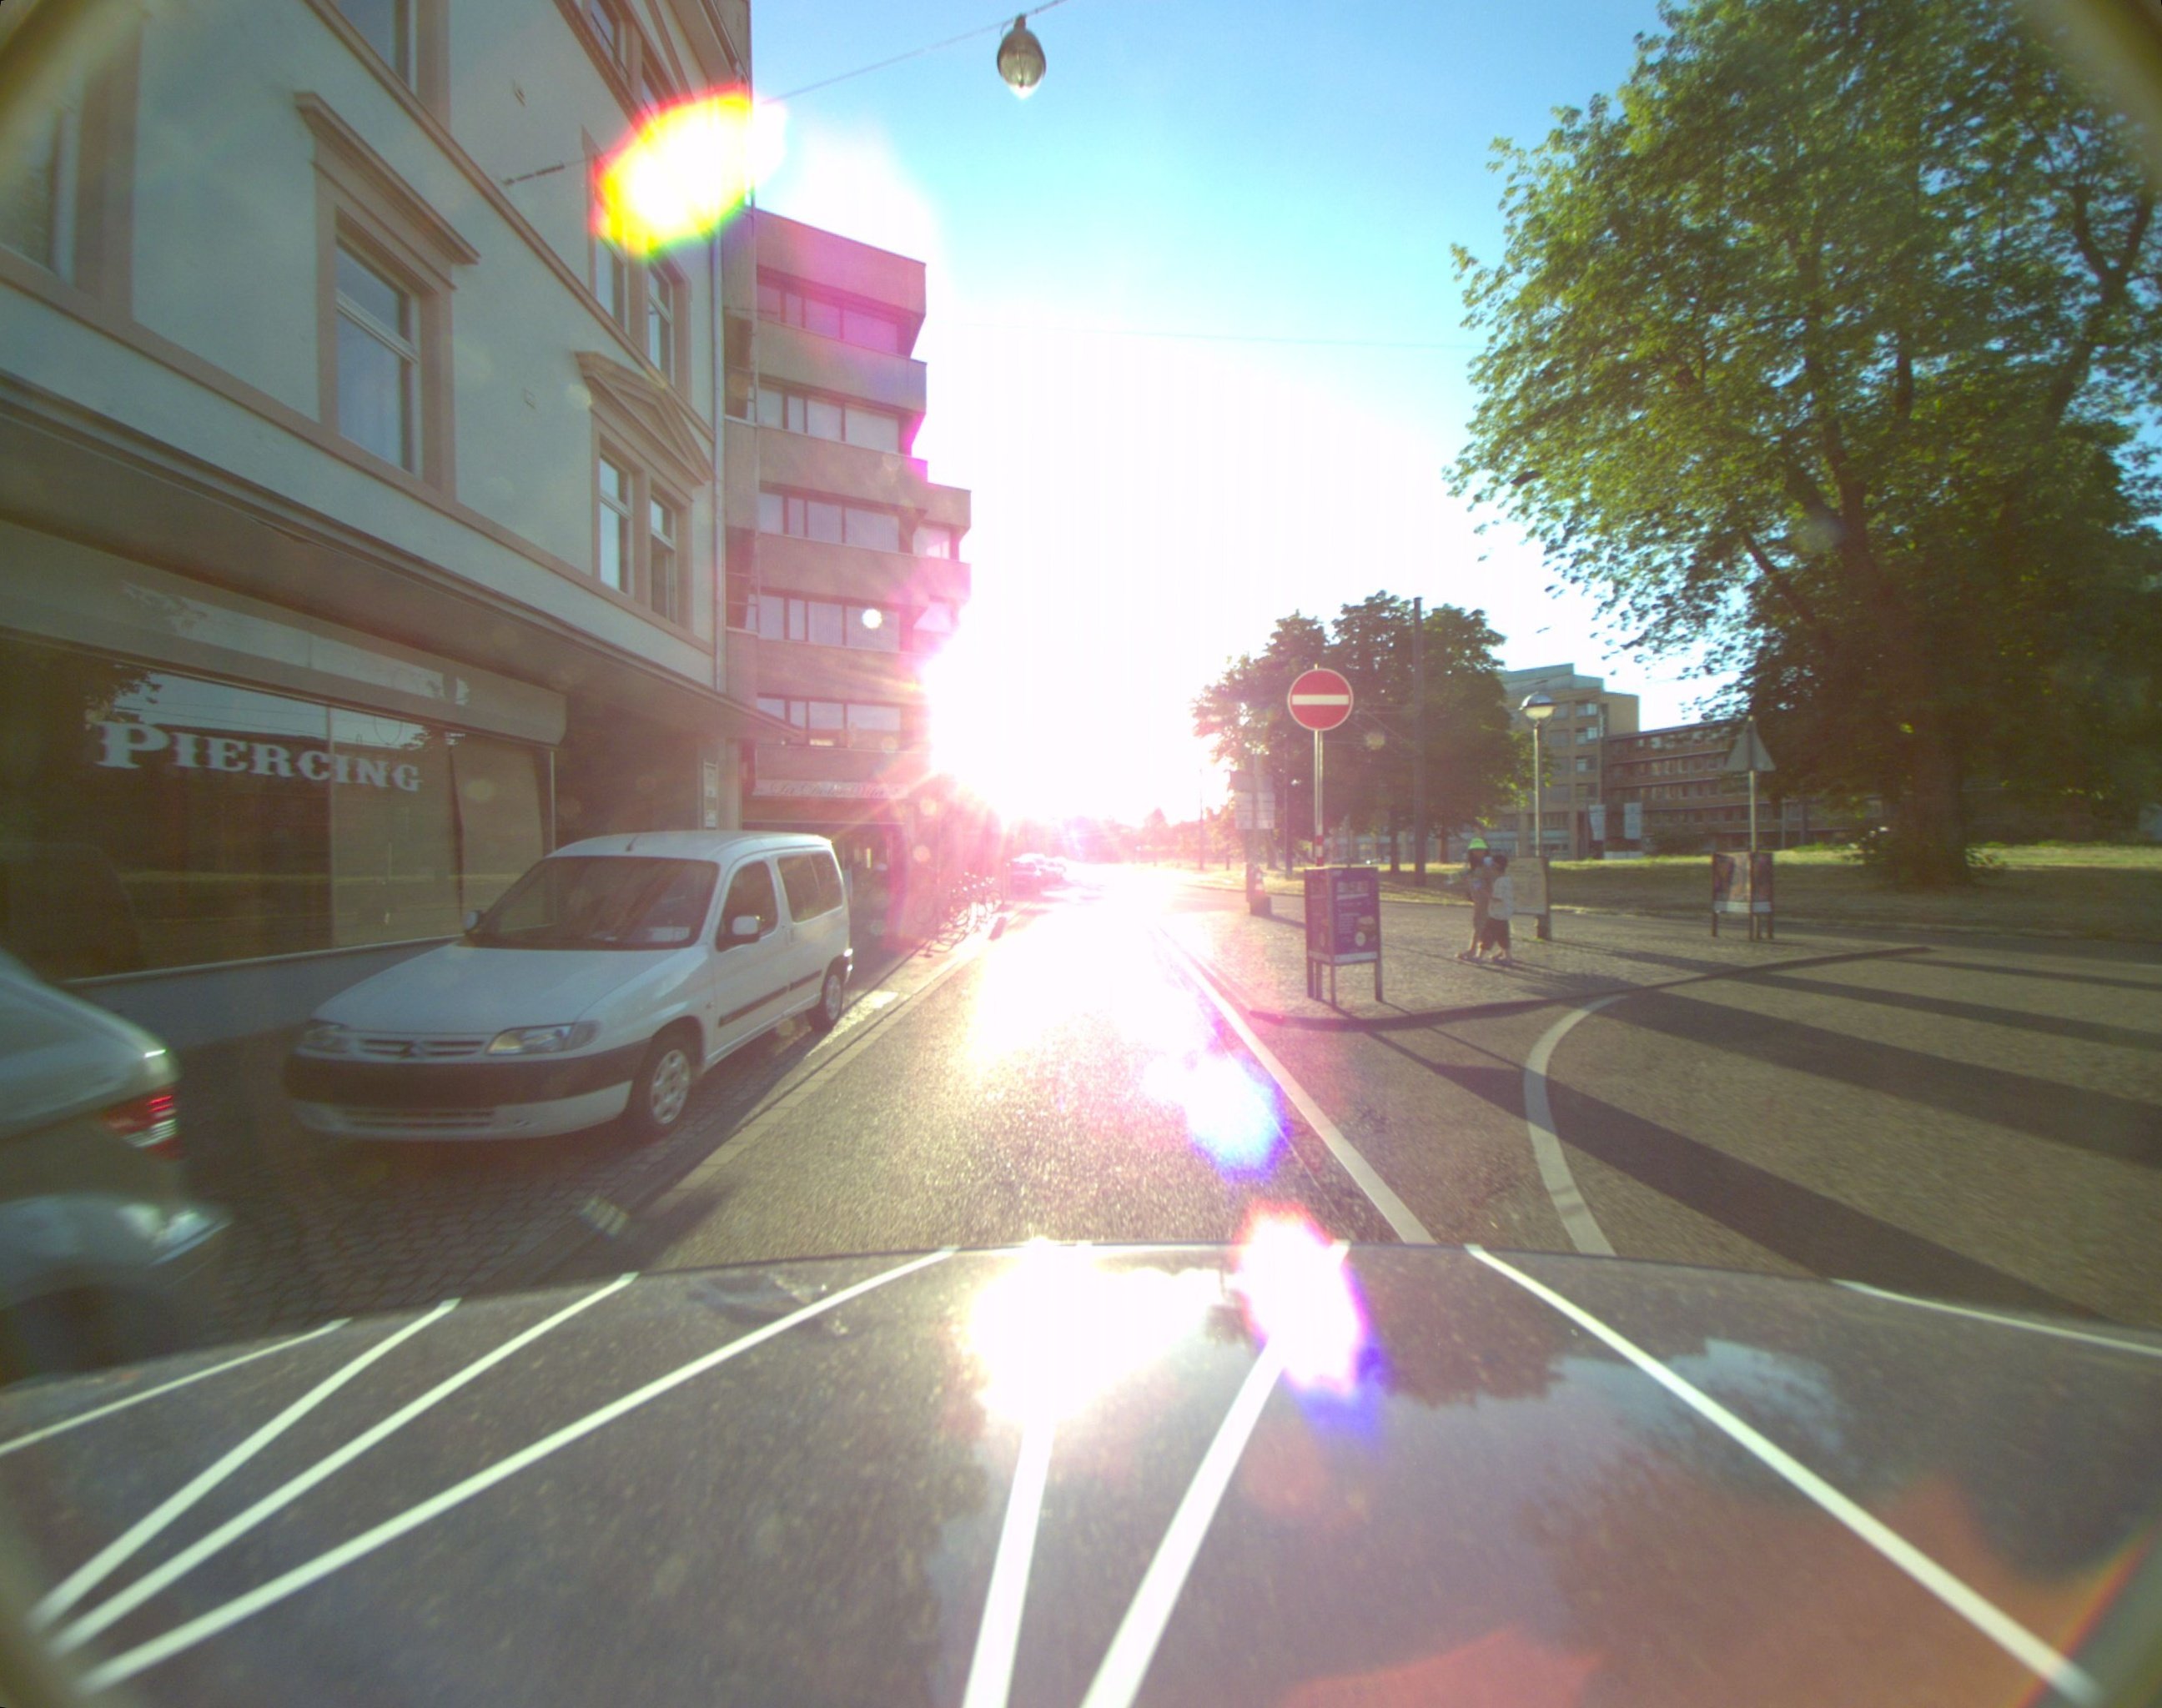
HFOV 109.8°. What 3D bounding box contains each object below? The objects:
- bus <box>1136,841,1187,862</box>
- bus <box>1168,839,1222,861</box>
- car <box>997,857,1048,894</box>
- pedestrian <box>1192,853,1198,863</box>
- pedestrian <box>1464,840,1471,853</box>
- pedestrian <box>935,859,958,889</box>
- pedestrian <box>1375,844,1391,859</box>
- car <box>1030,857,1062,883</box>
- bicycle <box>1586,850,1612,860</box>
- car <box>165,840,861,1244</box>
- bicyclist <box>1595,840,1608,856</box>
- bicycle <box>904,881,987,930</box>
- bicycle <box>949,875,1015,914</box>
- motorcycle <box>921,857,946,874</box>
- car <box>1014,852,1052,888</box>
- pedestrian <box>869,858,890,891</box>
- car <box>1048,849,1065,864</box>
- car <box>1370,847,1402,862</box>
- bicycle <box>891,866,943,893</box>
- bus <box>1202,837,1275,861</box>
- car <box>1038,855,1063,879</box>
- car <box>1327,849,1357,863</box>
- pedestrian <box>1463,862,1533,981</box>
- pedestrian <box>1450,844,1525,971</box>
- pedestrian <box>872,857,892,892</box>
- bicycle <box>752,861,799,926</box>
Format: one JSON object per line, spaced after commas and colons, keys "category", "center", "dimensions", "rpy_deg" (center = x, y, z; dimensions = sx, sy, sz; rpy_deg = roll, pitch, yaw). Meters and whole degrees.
{"category": "bus", "center": [14.854, -0.388, 141.278], "dimensions": [3.765, 3.435, 12.109], "rpy_deg": [-2, 0, -24]}
{"category": "bus", "center": [19.490, -0.624, 130.893], "dimensions": [3.765, 3.311, 10.716], "rpy_deg": [-2, 0, -25]}
{"category": "car", "center": [-2.538, 0.917, 33.637], "dimensions": [1.794, 1.499, 3.921], "rpy_deg": [-2, 0, 2]}
{"category": "pedestrian", "center": [16.397, 0.550, 109.547], "dimensions": [0.672, 1.450, 0.699], "rpy_deg": [-2, 0, -3]}
{"category": "pedestrian", "center": [51.082, -1.006, 100.517], "dimensions": [0.532, 1.682, 0.617], "rpy_deg": [-2, 0, -16]}
{"category": "pedestrian", "center": [-5.848, 0.857, 32.952], "dimensions": [0.764, 1.290, 0.708], "rpy_deg": [0, -1, -34]}
{"category": "pedestrian", "center": [42.202, -0.354, 106.188], "dimensions": [1.061, 2.082, 1.630], "rpy_deg": [-2, 0, -28]}
{"category": "car", "center": [-2.134, 0.944, 47.320], "dimensions": [1.645, 1.519, 4.000], "rpy_deg": [-2, 0, 1]}
{"category": "bicycle", "center": [55.318, 0.127, 81.190], "dimensions": [2.194, 1.005, 0.473], "rpy_deg": [2, 3, 44]}
{"category": "car", "center": [-3.109, 0.831, 5.411], "dimensions": [1.797, 1.781, 4.092], "rpy_deg": [-1, 0, 1]}
{"category": "bicyclist", "center": [55.450, -0.606, 80.978], "dimensions": [0.895, 1.681, 0.955], "rpy_deg": [3, 3, 44]}
{"category": "bicycle", "center": [-3.057, 1.139, 17.106], "dimensions": [1.789, 0.984, 0.543], "rpy_deg": [2, -1, 24]}
{"category": "bicycle", "center": [-2.770, 1.104, 21.129], "dimensions": [1.788, 0.984, 0.543], "rpy_deg": [2, -1, 27]}
{"category": "motorcycle", "center": [-11.485, 0.908, 59.225], "dimensions": [1.793, 1.285, 0.670], "rpy_deg": [0, 0, 16]}
{"category": "car", "center": [-2.600, 0.847, 41.948], "dimensions": [1.788, 1.794, 4.401], "rpy_deg": [-2, 0, -1]}
{"category": "pedestrian", "center": [-7.916, 0.792, 29.874], "dimensions": [0.706, 1.271, 0.537], "rpy_deg": [0, 0, 1]}
{"category": "car", "center": [-2.679, 0.306, 83.801], "dimensions": [1.655, 1.525, 4.066], "rpy_deg": [-2, 0, 0]}
{"category": "car", "center": [43.572, 0.067, 108.672], "dimensions": [1.858, 2.002, 3.902], "rpy_deg": [-2, 0, -29]}
{"category": "bicycle", "center": [-6.294, 0.971, 29.233], "dimensions": [1.896, 0.999, 0.457], "rpy_deg": [1, 0, -38]}
{"category": "bus", "center": [24.584, -0.752, 119.753], "dimensions": [3.765, 3.342, 13.687], "rpy_deg": [-2, 0, -25]}
{"category": "car", "center": [-2.110, 0.915, 53.525], "dimensions": [1.589, 1.581, 3.667], "rpy_deg": [-2, 0, -1]}
{"category": "car", "center": [39.845, 0.296, 116.134], "dimensions": [1.914, 2.002, 3.991], "rpy_deg": [-2, 0, -29]}
{"category": "pedestrian", "center": [4.950, 0.785, 9.047], "dimensions": [0.613, 1.356, 0.565], "rpy_deg": [-2, 0, 19]}
{"category": "pedestrian", "center": [5.171, 0.656, 9.697], "dimensions": [0.693, 1.550, 0.700], "rpy_deg": [-2, 0, 18]}
{"category": "pedestrian", "center": [-7.641, 0.785, 29.166], "dimensions": [0.642, 1.288, 0.706], "rpy_deg": [1, 0, -8]}
{"category": "bicycle", "center": [-6.674, 0.835, 16.575], "dimensions": [0.416, 1.269, 1.659], "rpy_deg": [-1, 4, -42]}
